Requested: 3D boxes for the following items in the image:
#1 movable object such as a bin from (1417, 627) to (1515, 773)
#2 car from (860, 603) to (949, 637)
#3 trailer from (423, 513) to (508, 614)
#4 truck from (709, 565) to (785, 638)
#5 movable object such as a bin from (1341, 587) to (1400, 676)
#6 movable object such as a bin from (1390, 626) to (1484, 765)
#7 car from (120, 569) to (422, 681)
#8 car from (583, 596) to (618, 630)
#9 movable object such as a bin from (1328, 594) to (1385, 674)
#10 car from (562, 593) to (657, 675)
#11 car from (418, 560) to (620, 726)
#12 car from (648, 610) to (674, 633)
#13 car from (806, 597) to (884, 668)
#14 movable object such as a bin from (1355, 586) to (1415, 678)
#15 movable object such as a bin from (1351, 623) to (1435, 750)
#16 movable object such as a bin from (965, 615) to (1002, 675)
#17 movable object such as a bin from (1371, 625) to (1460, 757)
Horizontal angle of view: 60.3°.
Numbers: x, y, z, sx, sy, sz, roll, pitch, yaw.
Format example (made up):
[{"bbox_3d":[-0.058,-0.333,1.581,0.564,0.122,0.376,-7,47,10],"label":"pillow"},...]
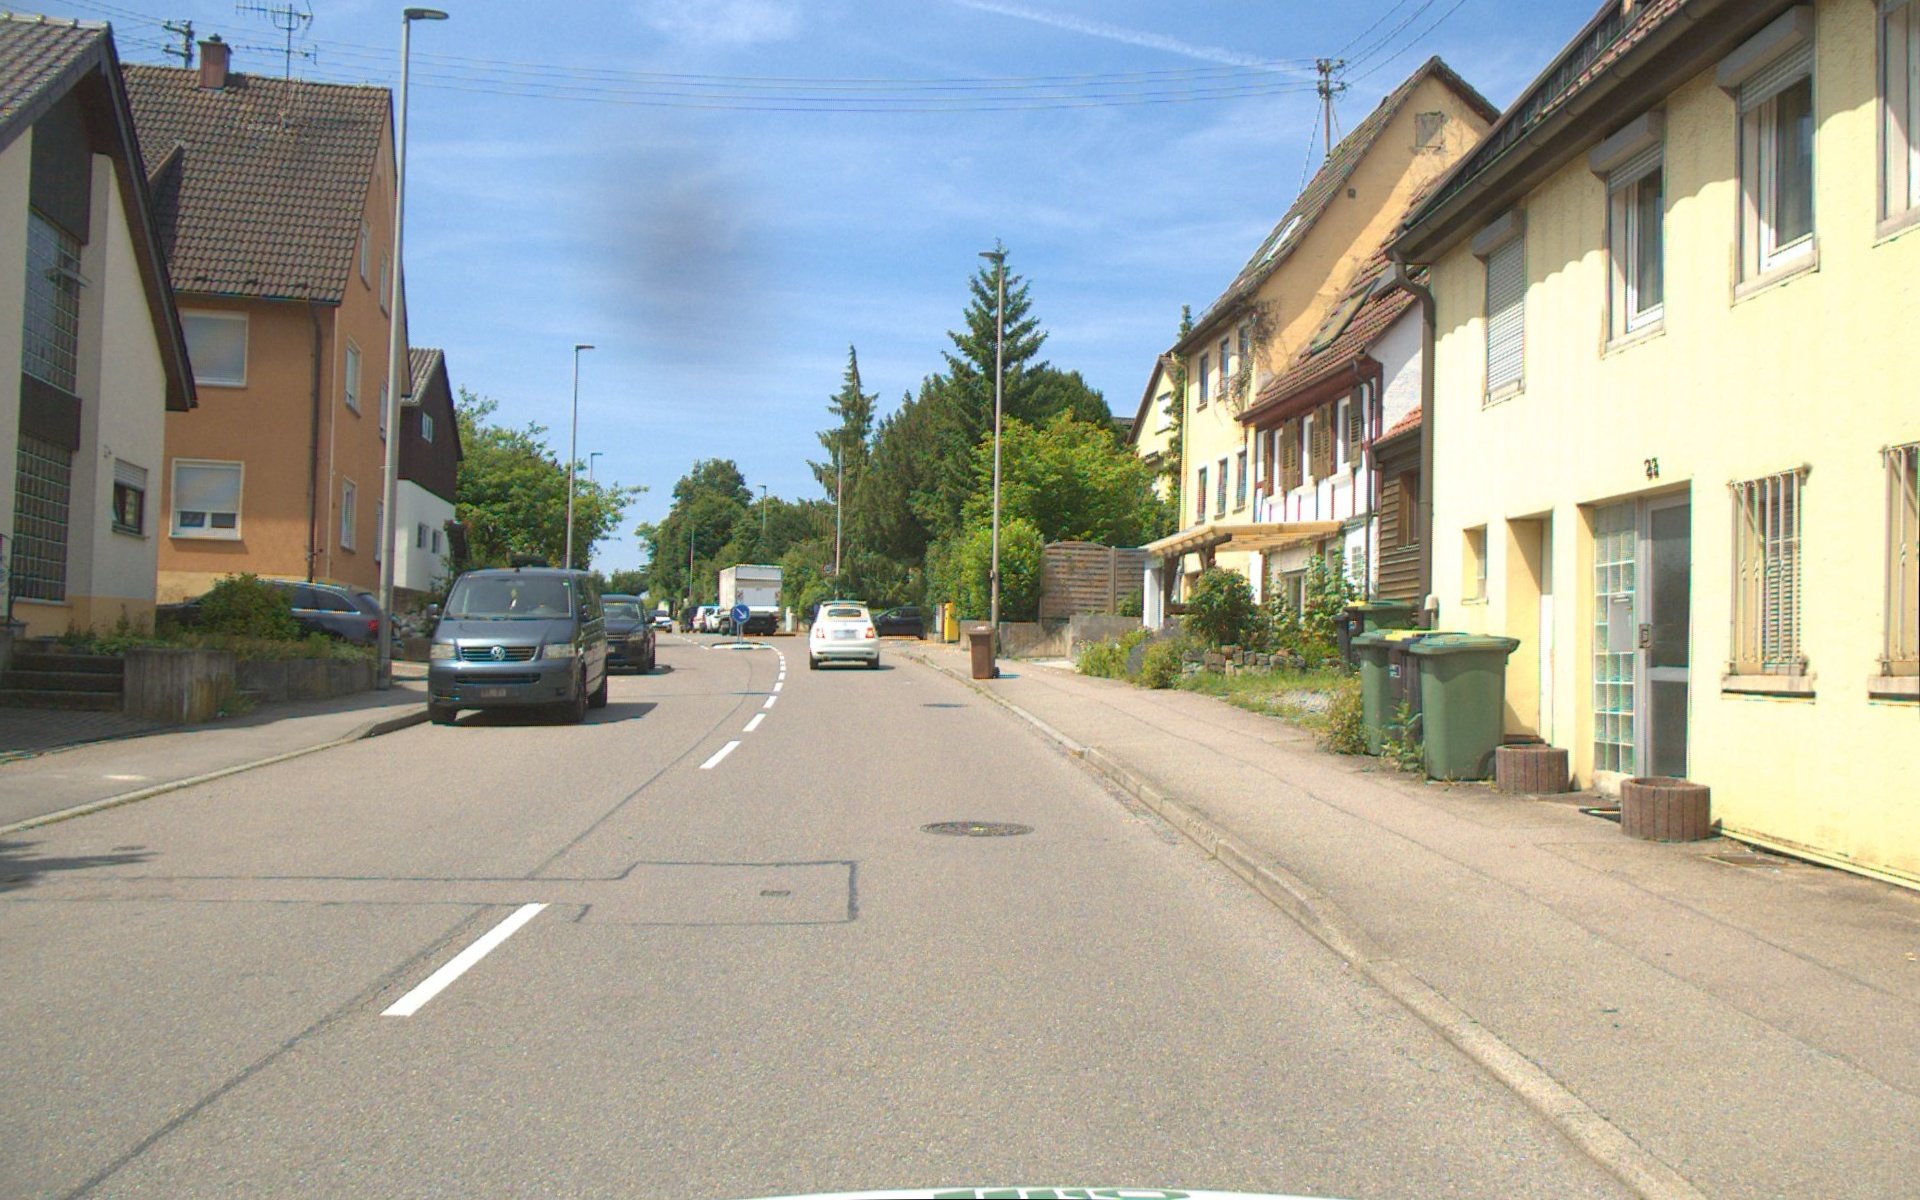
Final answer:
[{"bbox_3d":[3.858,0.751,12.633,0.535,1.051,0.551,-2,0,-3],"label":"movable object such as a bin"},{"bbox_3d":[-2.521,0.905,74.949,3.862,1.483,1.654,0,-1,-10],"label":"car"},{"bbox_3d":[-15.255,-1.044,51.288,1.681,2.898,6.160,1,0,-9],"label":"trailer"},{"bbox_3d":[-11.766,0.154,90.772,3.018,3.840,7.833,0,-1,-16],"label":"truck"},{"bbox_3d":[5.710,0.434,23.005,0.525,1.177,0.548,-6,0,-8],"label":"movable object such as a bin"},{"bbox_3d":[3.805,0.751,13.219,0.535,1.051,0.551,-2,0,-3],"label":"movable object such as a bin"},{"bbox_3d":[-11.111,0.403,26.963,4.154,1.430,1.816,5,-1,-11],"label":"car"},{"bbox_3d":[-24.615,0.900,113.071,2.004,2.238,5.558,1,-1,-16],"label":"car"},{"bbox_3d":[5.655,0.488,23.609,0.525,1.075,0.548,-6,0,-8],"label":"movable object such as a bin"},{"bbox_3d":[-7.540,0.694,35.873,1.736,1.664,4.279,0,0,-8],"label":"car"},{"bbox_3d":[-5.795,0.531,22.318,1.854,1.971,4.979,-1,0,-6],"label":"car"},{"bbox_3d":[-21.171,1.548,117.007,1.751,1.556,4.158,0,-1,-11],"label":"car"},{"bbox_3d":[-2.747,0.743,38.880,1.692,1.587,3.994,0,0,-6],"label":"car"},{"bbox_3d":[5.755,0.427,22.418,0.525,1.177,0.510,-6,0,-7],"label":"movable object such as a bin"},{"bbox_3d":[3.762,0.738,14.392,0.535,1.051,0.551,-2,0,-3],"label":"movable object such as a bin"},{"bbox_3d":[0.436,0.823,30.389,0.484,1.051,0.548,-3,0,18],"label":"movable object such as a bin"},{"bbox_3d":[3.792,0.748,13.798,0.535,1.051,0.551,-2,0,-3],"label":"movable object such as a bin"}]
